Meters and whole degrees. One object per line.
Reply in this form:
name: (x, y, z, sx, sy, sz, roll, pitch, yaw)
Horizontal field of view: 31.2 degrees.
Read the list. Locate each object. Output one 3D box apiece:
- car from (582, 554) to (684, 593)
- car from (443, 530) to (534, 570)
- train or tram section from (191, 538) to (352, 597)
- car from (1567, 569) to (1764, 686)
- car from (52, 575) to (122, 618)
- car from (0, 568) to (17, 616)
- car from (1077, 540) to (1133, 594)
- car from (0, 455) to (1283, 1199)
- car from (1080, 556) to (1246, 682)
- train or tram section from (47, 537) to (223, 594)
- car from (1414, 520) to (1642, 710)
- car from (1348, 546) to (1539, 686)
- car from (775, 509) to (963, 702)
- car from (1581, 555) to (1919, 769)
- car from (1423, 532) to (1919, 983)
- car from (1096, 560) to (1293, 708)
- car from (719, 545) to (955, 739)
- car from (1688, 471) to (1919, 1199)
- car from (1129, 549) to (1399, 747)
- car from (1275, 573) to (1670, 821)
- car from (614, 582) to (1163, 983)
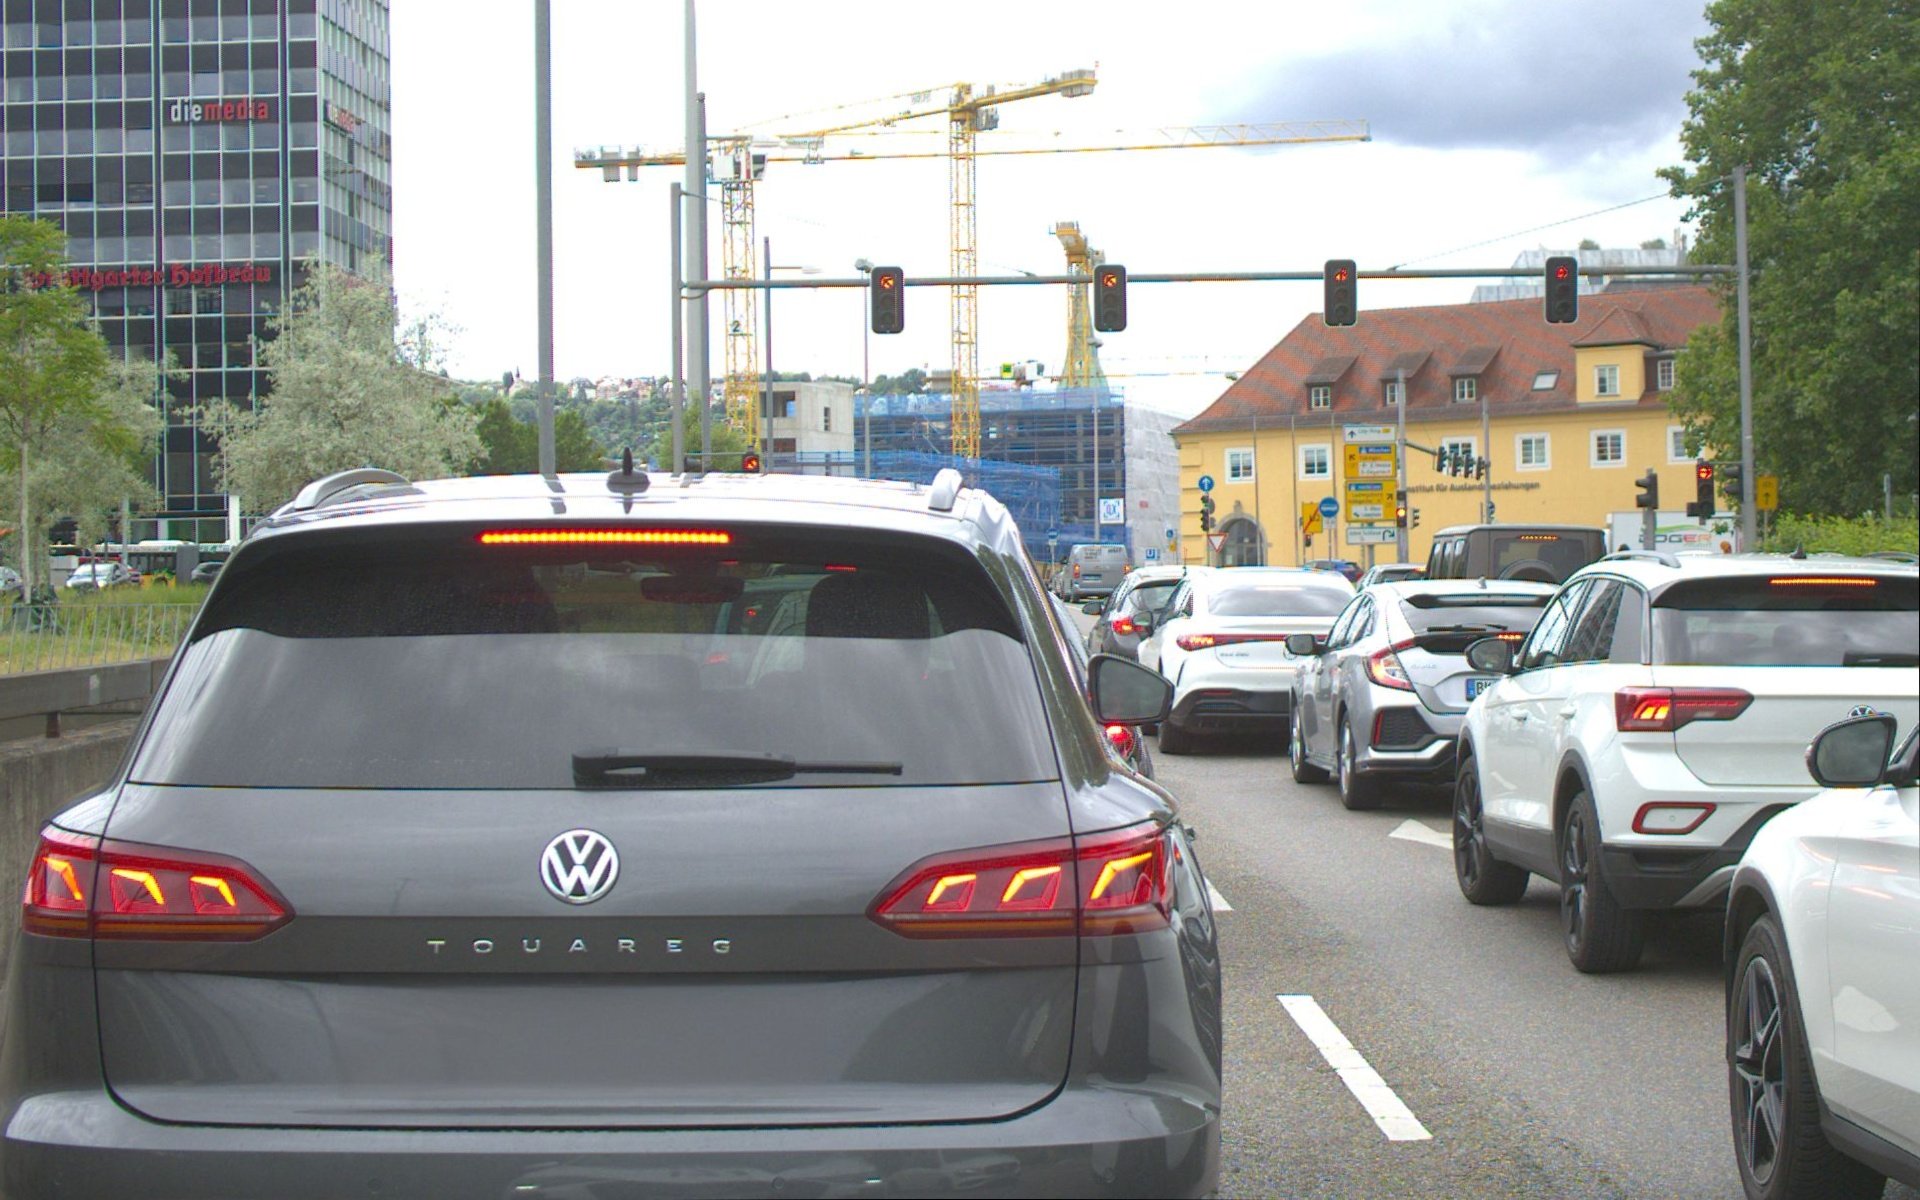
car: (-14.011, -1.122, 147.241, 4.222, 1.598, 1.749, 1, 0, 36)
car: (-24.578, -2.597, 179.236, 4.454, 2.007, 1.996, 1, -1, 34)
train or tram section: (-37.608, -1.779, 187.581, 8.935, 2.999, 2.592, 1, -1, 28)
car: (9.343, 0.346, 45.780, 1.757, 1.442, 3.634, 1, 0, -2)
car: (-31.289, -0.117, 123.288, 1.732, 1.489, 3.595, 1, -1, -2)
car: (-30.445, -0.271, 106.206, 1.732, 1.489, 3.595, 1, -1, -2)
car: (4.683, -1.049, 111.440, 1.619, 1.622, 4.000, 1, -1, 0)
car: (-0.568, 0.605, 6.660, 1.951, 1.646, 4.000, 0, 1, -1)
car: (2.556, 0.231, 44.030, 1.926, 1.524, 4.047, 0, 0, 1)
train or tram section: (-46.144, -1.956, 192.114, 10.411, 2.999, 2.592, 1, -1, 28)
car: (6.394, 0.159, 39.110, 1.910, 2.007, 4.012, 1, 0, 0)
car: (6.229, 0.191, 44.690, 1.910, 1.691, 4.012, 1, 0, 0)
car: (-0.996, 0.037, 38.558, 1.951, 2.011, 3.931, 1, 1, -1)
car: (6.646, 0.449, 28.639, 1.993, 1.634, 4.305, 0, 1, -2)
car: (3.140, 0.542, 14.083, 1.926, 1.545, 4.489, 0, 0, 1)
car: (2.513, 0.352, 37.743, 1.926, 1.524, 4.047, 0, 0, 1)
car: (-1.067, 0.332, 31.025, 1.951, 1.594, 3.931, 1, 1, -1)
car: (2.721, 0.586, 6.163, 1.926, 1.648, 4.490, 0, 1, 1)
car: (2.468, 0.365, 28.922, 1.926, 1.524, 4.489, 0, 0, 1)
car: (3.177, 0.557, 22.197, 1.926, 1.427, 4.489, 0, 0, 1)
car: (-0.286, 0.650, 14.397, 1.951, 1.379, 3.931, 1, 1, -1)
